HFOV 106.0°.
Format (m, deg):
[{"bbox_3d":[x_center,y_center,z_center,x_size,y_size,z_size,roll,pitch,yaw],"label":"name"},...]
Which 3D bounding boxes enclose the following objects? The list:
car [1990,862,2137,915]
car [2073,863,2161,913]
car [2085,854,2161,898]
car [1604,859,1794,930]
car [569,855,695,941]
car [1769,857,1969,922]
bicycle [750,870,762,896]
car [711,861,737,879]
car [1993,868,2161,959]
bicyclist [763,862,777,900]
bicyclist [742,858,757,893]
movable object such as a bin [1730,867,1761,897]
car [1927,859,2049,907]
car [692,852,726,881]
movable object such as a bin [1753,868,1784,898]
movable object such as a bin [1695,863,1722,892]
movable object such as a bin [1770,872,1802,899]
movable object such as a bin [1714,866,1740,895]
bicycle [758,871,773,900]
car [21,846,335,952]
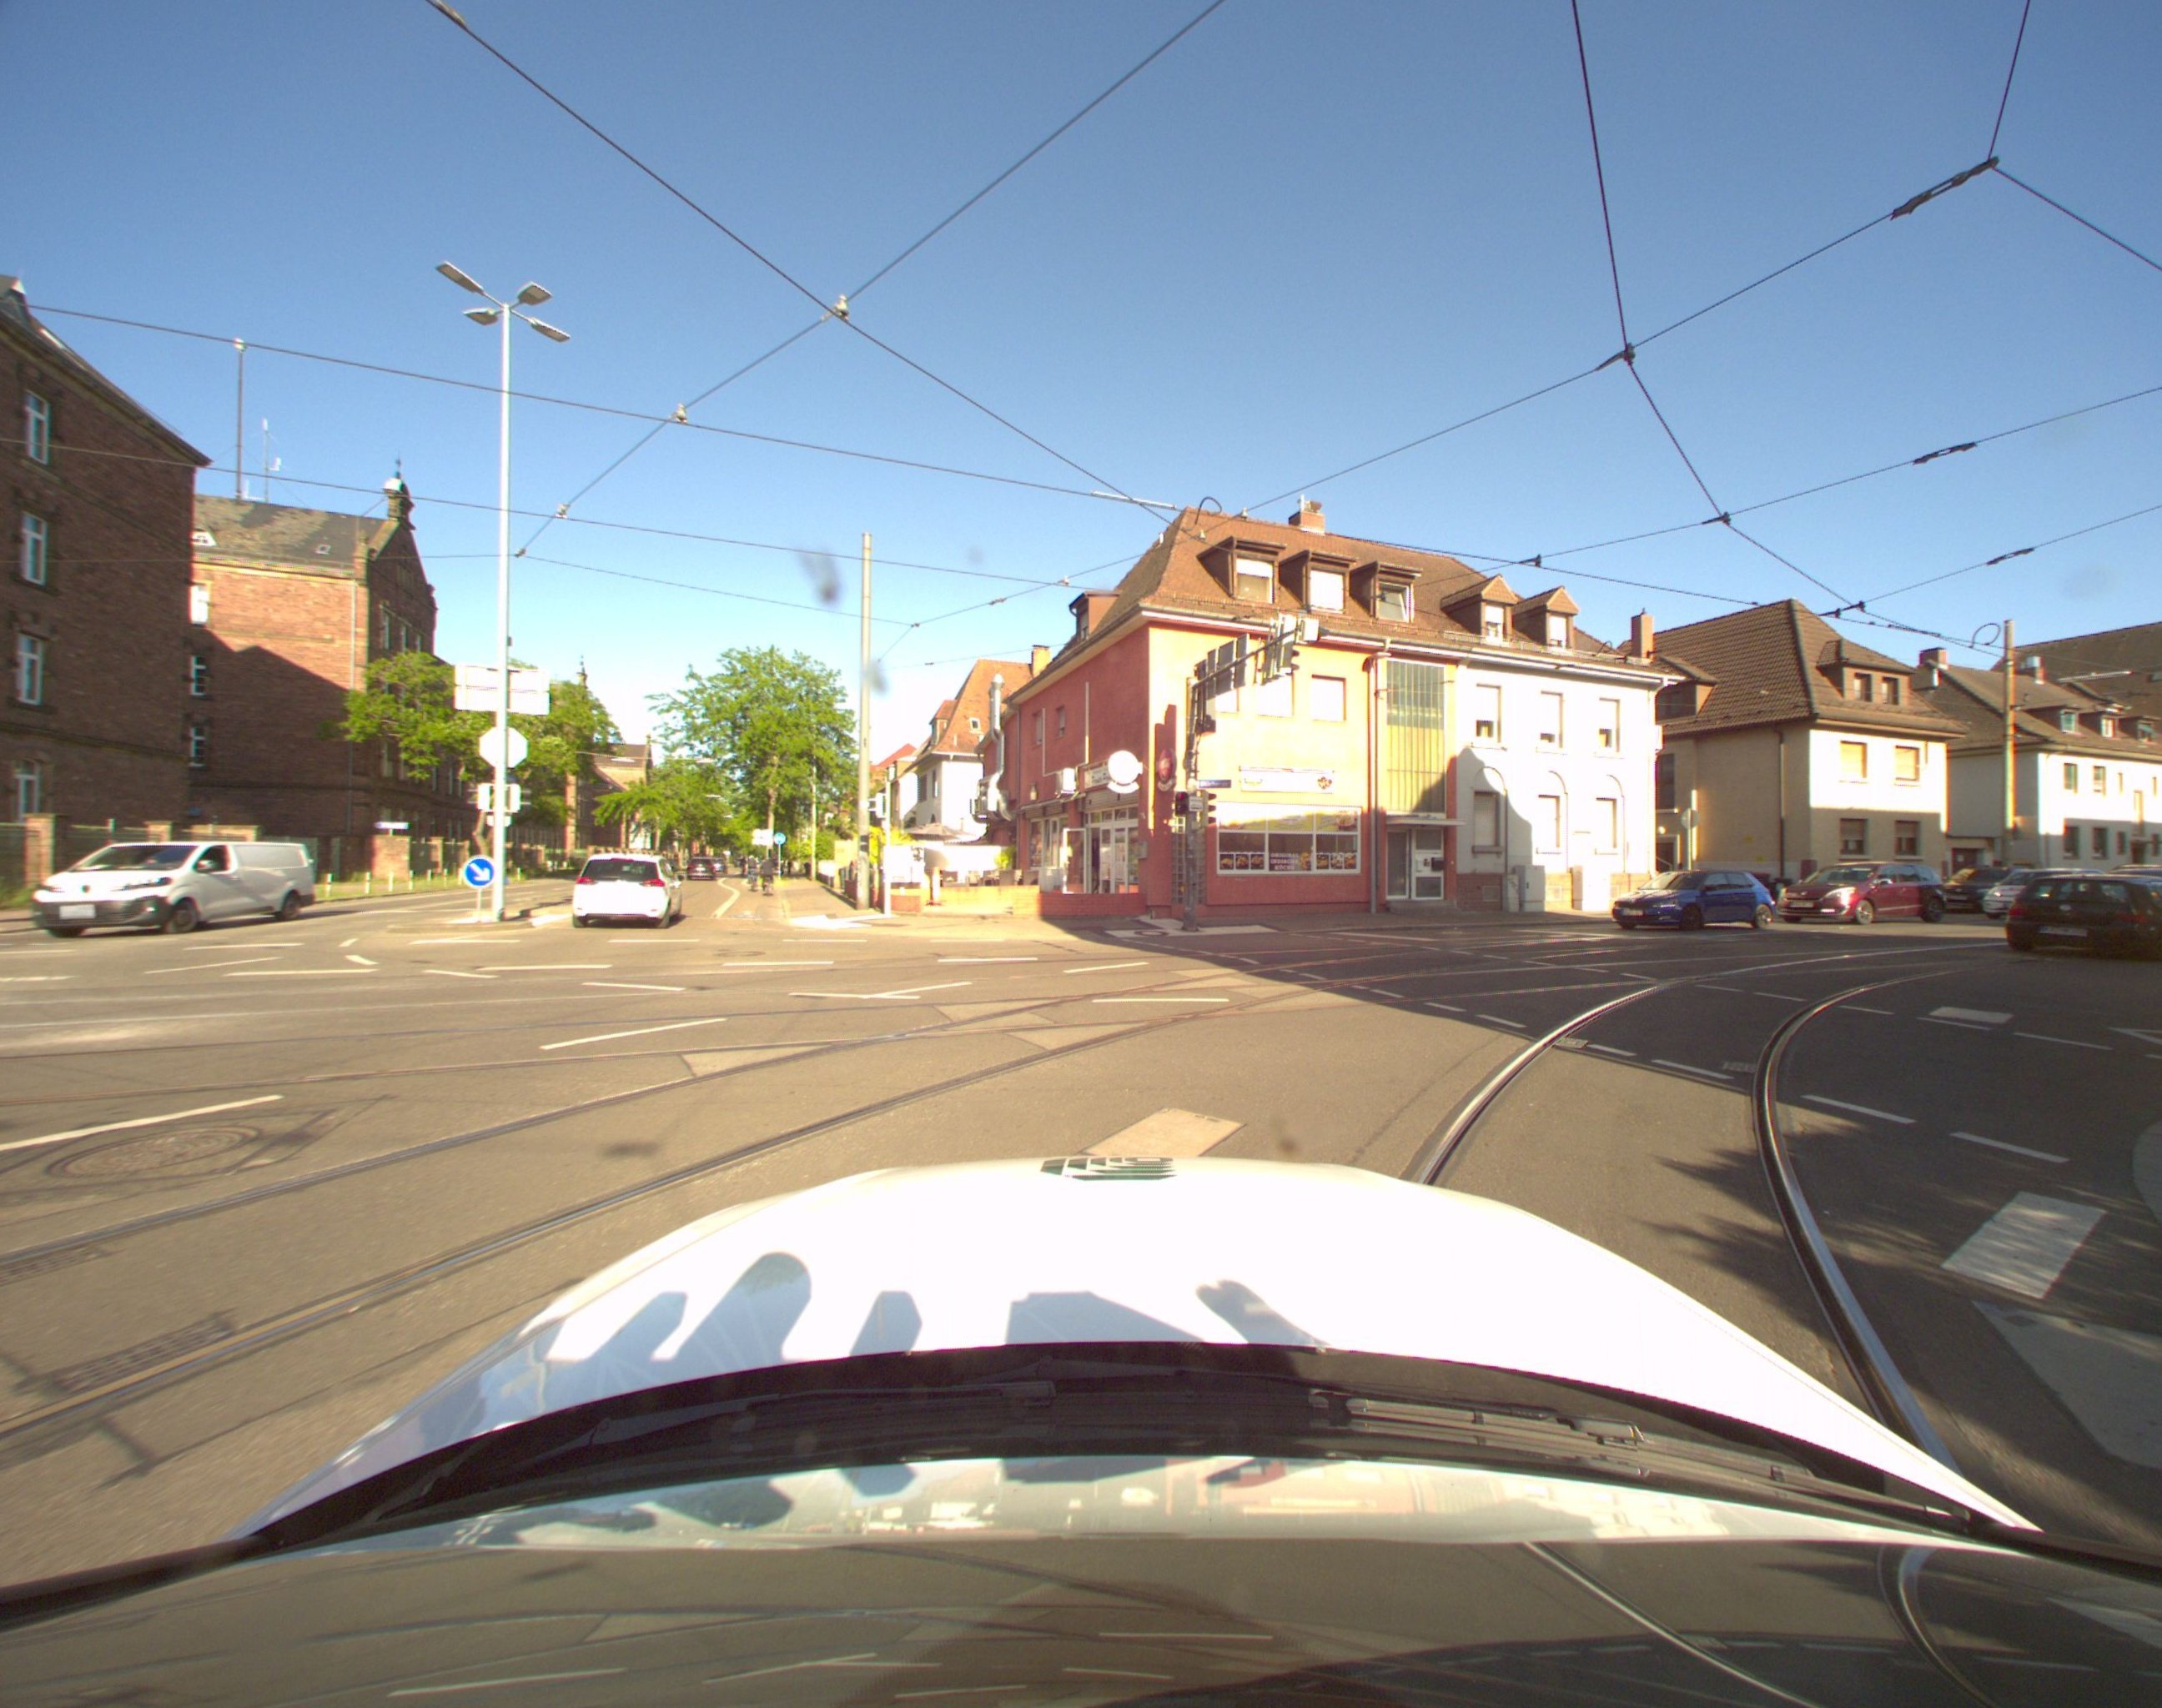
[{"bbox_3d":[28.512,0.969,23.650,3.613,1.461,1.577,0,-2,-20],"label":"car"},{"bbox_3d":[32.959,1.021,25.207,4.076,1.461,1.611,0,-2,-21],"label":"car"},{"bbox_3d":[43.243,0.902,33.103,4.558,1.705,1.754,0,-2,-22],"label":"car"},{"bbox_3d":[14.691,0.933,19.388,3.927,1.568,1.678,0,-3,-19],"label":"car"},{"bbox_3d":[-10.239,0.941,18.909,1.970,1.665,4.219,3,-1,-22],"label":"car"},{"bbox_3d":[20.965,0.904,21.686,4.709,1.611,1.734,0,-2,-17],"label":"car"},{"bbox_3d":[-15.568,1.375,39.016,0.472,1.189,1.982,1,0,-21],"label":"bicycle"},{"bbox_3d":[-35.511,1.590,81.119,1.998,1.665,4.097,3,-1,-20],"label":"car"},{"bbox_3d":[18.130,0.950,14.157,4.007,1.402,1.709,0,-1,-21],"label":"car"},{"bbox_3d":[-13.456,1.160,35.241,0.556,1.617,0.681,1,0,-21],"label":"bicyclist"},{"bbox_3d":[-15.934,1.044,39.175,0.610,1.656,0.789,1,0,-22],"label":"bicyclist"},{"bbox_3d":[25.838,1.082,31.658,0.672,1.111,0.640,0,2,-21],"label":"movable object such as a bin"},{"bbox_3d":[32.149,1.014,28.861,3.924,1.628,1.609,0,-2,-22],"label":"car"},{"bbox_3d":[-26.374,0.859,57.699,2.001,1.849,4.215,3,-1,-25],"label":"car"},{"bbox_3d":[26.116,1.108,30.949,0.672,1.079,0.613,0,2,-21],"label":"movable object such as a bin"},{"bbox_3d":[25.355,0.955,32.928,0.590,1.111,0.613,0,2,-21],"label":"movable object such as a bin"},{"bbox_3d":[26.264,1.159,30.341,0.582,0.944,0.655,0,2,-21],"label":"movable object such as a bin"},{"bbox_3d":[25.585,1.029,32.254,0.590,1.111,0.567,0,2,-21],"label":"movable object such as a bin"},{"bbox_3d":[-13.597,1.349,35.147,0.560,1.189,1.982,1,0,-21],"label":"bicycle"},{"bbox_3d":[-19.041,0.827,17.676,2.164,1.929,5.271,0,0,-17],"label":"car"}]
